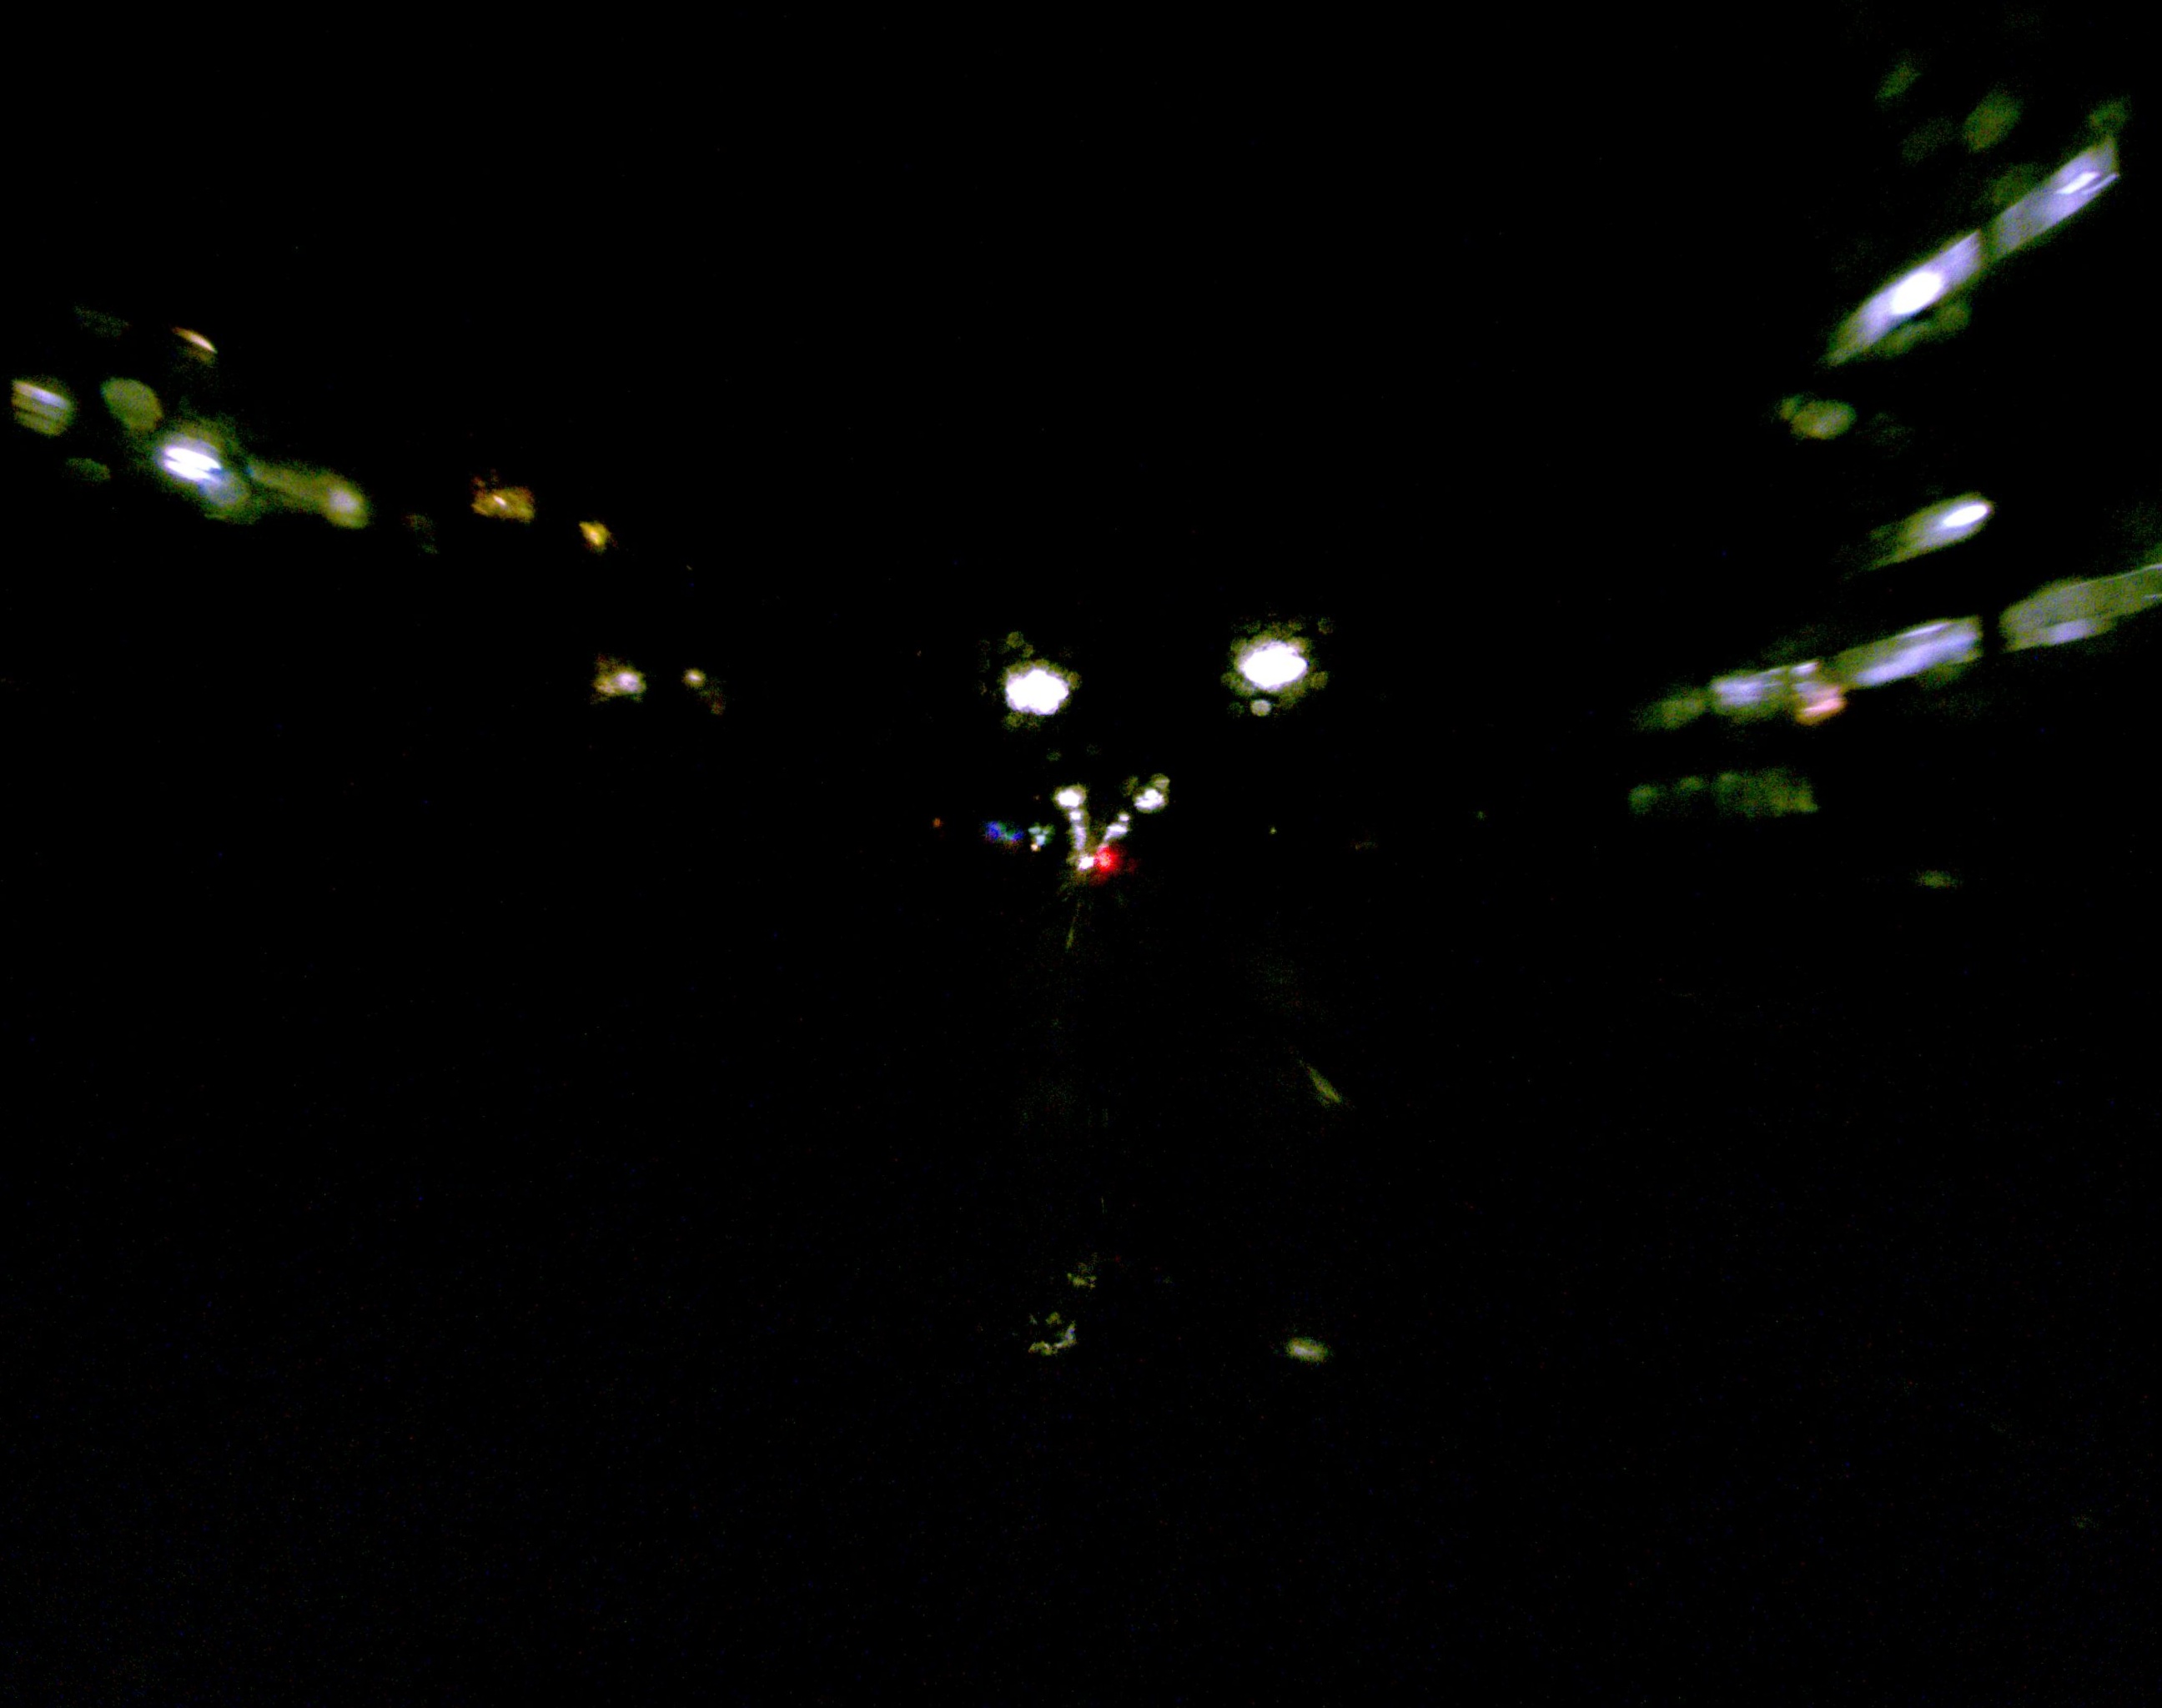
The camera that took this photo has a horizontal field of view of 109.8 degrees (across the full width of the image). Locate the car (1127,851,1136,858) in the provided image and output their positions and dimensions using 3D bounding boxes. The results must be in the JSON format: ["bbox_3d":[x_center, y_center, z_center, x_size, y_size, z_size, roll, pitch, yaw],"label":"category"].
[{"bbox_3d":[11.362,0.119,171.880,1.735,1.430,4.626,-2,0,1],"label":"car"}]

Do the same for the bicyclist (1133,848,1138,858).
[{"bbox_3d":[9.460,-0.200,130.829,0.784,1.646,1.206,1,1,1],"label":"bicyclist"}]

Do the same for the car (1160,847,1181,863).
[{"bbox_3d":[10.181,0.087,86.907,1.974,1.646,4.601,-3,0,2],"label":"car"}]

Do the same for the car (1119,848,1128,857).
[{"bbox_3d":[12.582,-0.586,224.830,2.248,2.494,5.259,-4,1,-2],"label":"car"}]

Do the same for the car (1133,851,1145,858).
[{"bbox_3d":[11.458,0.053,151.146,1.778,1.432,4.606,-1,0,-3],"label":"car"}]

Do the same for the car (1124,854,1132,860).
[{"bbox_3d":[11.829,0.801,191.692,1.723,1.447,3.950,-2,0,0],"label":"car"}]

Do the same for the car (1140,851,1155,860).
[{"bbox_3d":[11.532,0.185,131.274,1.893,1.454,4.958,-1,0,-3],"label":"car"}]

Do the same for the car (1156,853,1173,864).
[{"bbox_3d":[10.748,0.549,97.912,1.695,1.413,3.913,-1,0,-2],"label":"car"}]

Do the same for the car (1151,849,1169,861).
[{"bbox_3d":[10.894,0.081,105.336,1.988,1.622,4.517,-2,0,1],"label":"car"}]

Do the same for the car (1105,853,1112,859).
[{"bbox_3d":[7.588,0.498,208.310,1.780,1.509,4.051,-2,0,1],"label":"car"}]

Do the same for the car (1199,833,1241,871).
[{"bbox_3d":[10.171,-0.149,56.088,2.190,2.576,6.393,-2,0,3],"label":"car"}]

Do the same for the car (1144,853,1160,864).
[{"bbox_3d":[11.138,0.689,119.047,1.885,1.536,4.398,-5,1,-2],"label":"car"}]
